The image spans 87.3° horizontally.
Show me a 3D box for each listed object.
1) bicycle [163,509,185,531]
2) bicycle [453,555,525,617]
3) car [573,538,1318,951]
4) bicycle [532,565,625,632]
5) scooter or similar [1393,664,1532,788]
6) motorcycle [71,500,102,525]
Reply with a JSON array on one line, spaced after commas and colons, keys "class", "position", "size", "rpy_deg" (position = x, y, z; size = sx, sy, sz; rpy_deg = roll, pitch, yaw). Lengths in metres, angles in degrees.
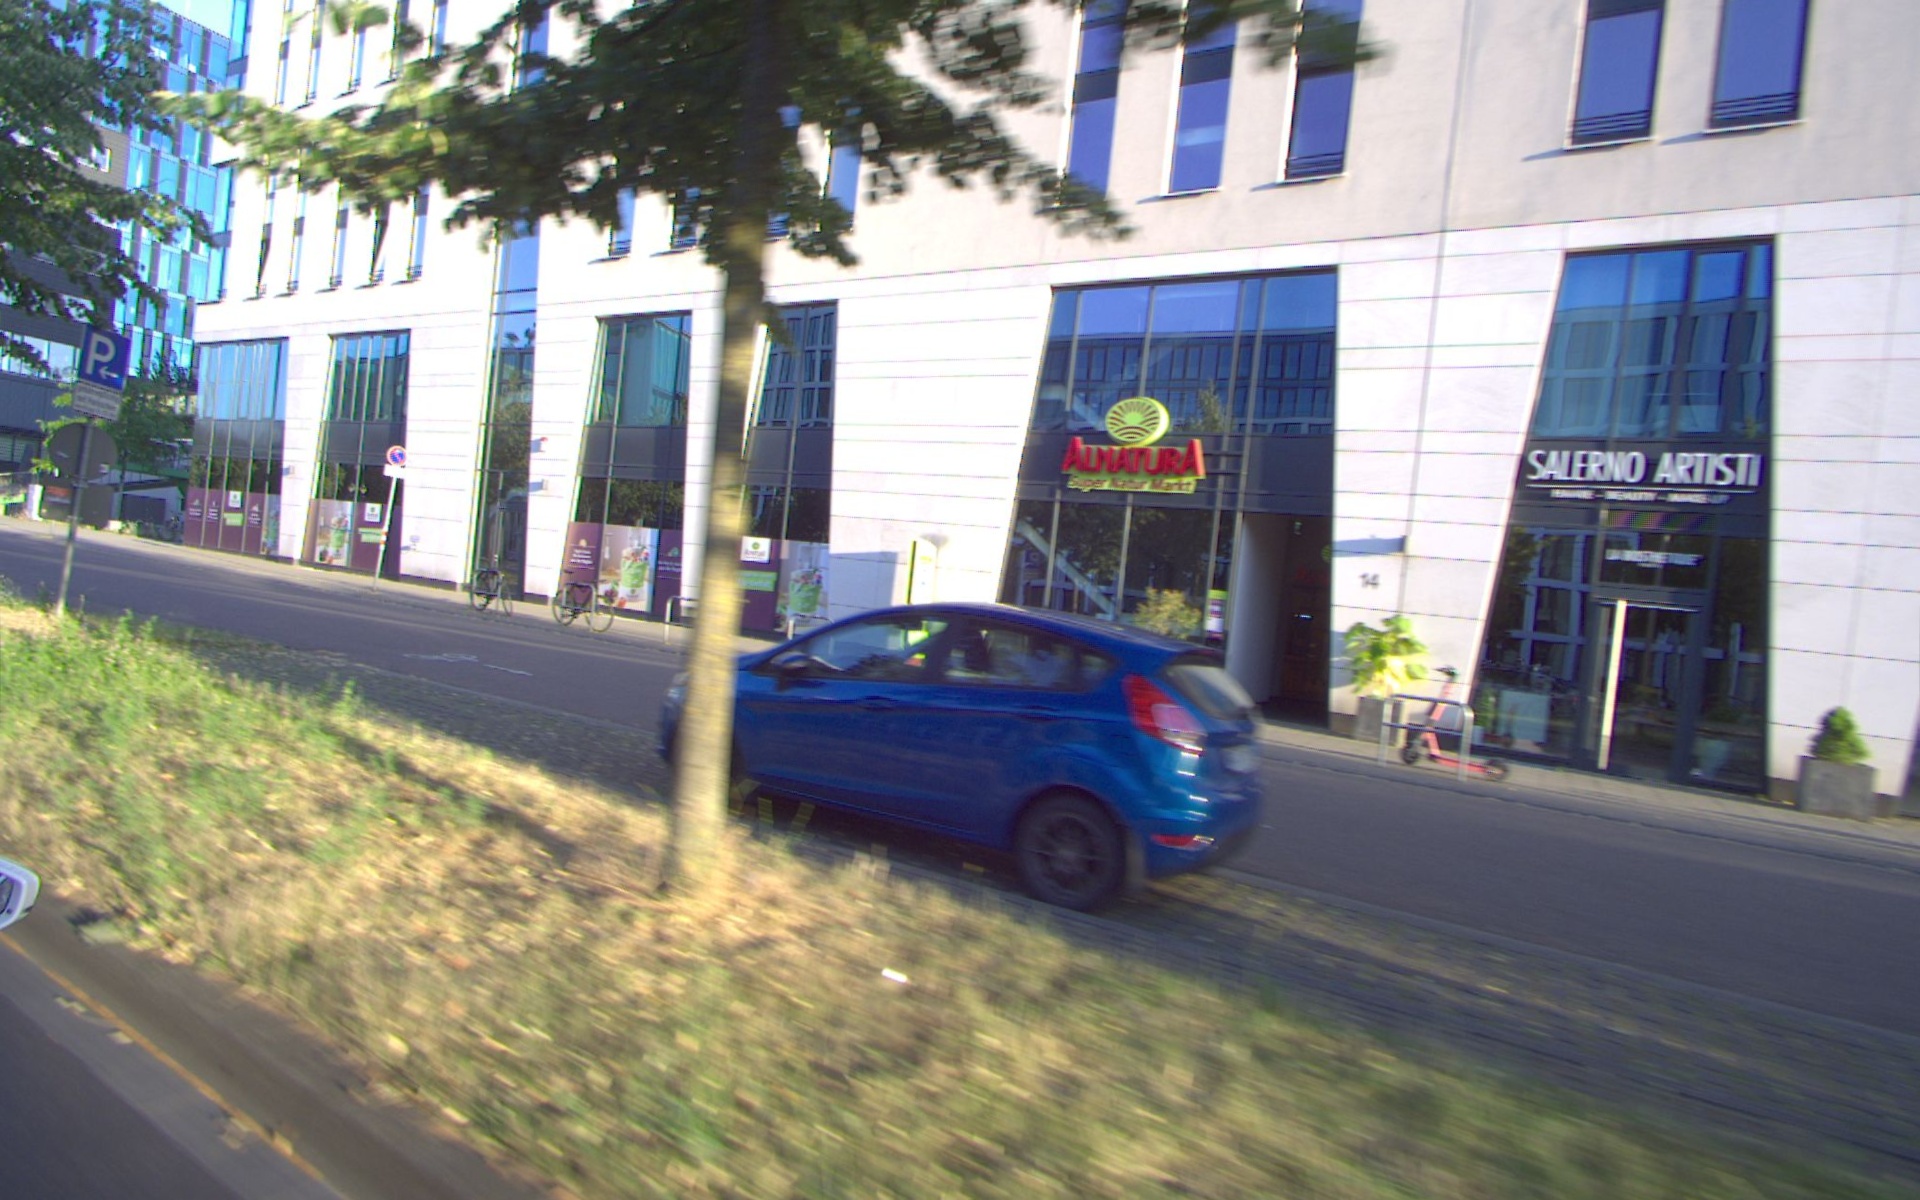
[{"class": "bicycle", "position": [-43.007, -4.392, 55.027], "size": [1.743, 1.065, 0.567], "rpy_deg": [7, 1, 41]}, {"class": "bicycle", "position": [-9.477, -0.296, 20.206], "size": [1.745, 1.087, 0.446], "rpy_deg": [7, 3, 35]}, {"class": "car", "position": [-0.205, 0.643, 6.239], "size": [4.196, 1.548, 1.727], "rpy_deg": [7, -1, 30]}, {"class": "bicycle", "position": [-7.155, -0.033, 18.825], "size": [1.928, 1.075, 0.518], "rpy_deg": [6, 3, 32]}, {"class": "scooter or similar", "position": [5.756, 1.420, 11.552], "size": [1.289, 1.203, 0.356], "rpy_deg": [7, 3, 32]}, {"class": "motorcycle", "position": [-46.030, -4.614, 53.003], "size": [2.296, 1.107, 0.650], "rpy_deg": [7, 1, 36]}]
